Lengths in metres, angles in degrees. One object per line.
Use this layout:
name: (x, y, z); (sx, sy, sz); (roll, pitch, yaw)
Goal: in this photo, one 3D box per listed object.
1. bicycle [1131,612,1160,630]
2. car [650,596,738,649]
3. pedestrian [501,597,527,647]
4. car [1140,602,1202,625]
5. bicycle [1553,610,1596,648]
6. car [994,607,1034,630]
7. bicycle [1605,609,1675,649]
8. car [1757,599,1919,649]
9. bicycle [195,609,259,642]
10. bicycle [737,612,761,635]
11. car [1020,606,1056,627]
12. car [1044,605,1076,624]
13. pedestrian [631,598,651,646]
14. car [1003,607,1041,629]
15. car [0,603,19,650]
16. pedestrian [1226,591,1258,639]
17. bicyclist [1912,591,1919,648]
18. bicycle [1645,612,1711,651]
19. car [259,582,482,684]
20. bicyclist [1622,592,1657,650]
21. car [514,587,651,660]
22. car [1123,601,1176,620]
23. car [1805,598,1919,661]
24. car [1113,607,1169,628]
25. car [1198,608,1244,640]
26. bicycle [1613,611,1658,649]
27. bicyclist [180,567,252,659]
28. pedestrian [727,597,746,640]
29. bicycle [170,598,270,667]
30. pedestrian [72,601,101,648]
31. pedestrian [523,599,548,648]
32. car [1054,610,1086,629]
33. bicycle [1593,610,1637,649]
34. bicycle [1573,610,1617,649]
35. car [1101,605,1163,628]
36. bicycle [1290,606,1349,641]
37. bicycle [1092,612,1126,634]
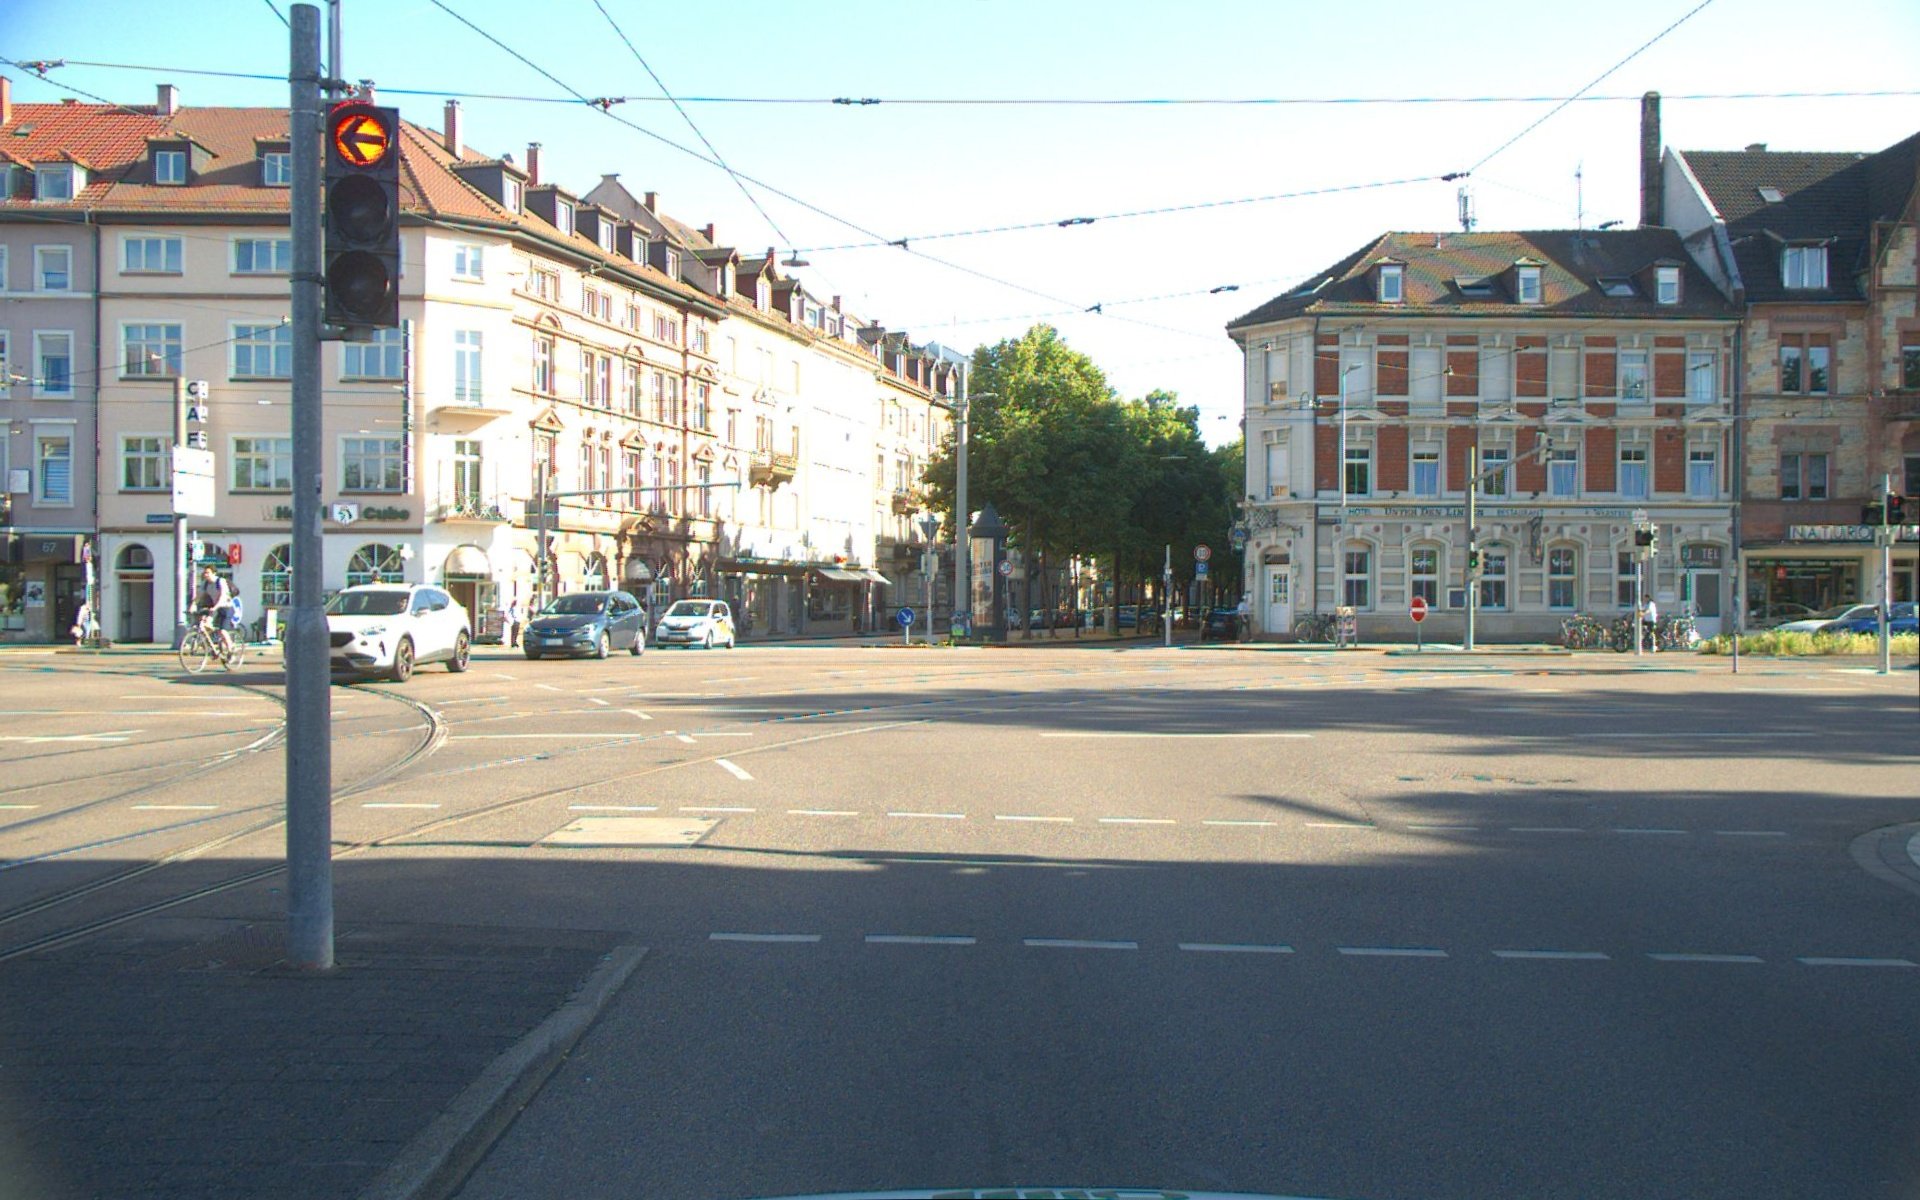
bicycle: (11.162, 1.268, 99.388); (0.577, 1.086, 1.924); (0, 0, -37)
car: (-7.985, 0.644, 49.900); (1.681, 1.523, 3.586); (0, 0, 7)
pedestrian: (-14.983, 0.738, 55.543); (0.661, 1.670, 0.579); (0, 0, 13)
car: (14.916, 0.952, 116.969); (3.913, 1.572, 1.996); (0, 0, 30)
bicycle: (19.830, 0.927, 53.437); (0.663, 1.211, 1.967); (0, 0, 0)
car: (3.702, 1.232, 112.898); (1.951, 1.523, 4.037); (0, 0, 13)
bicycle: (21.060, 0.902, 51.226); (1.920, 1.211, 0.602); (0, 0, 2)
car: (25.965, 0.703, 48.933); (3.906, 1.437, 1.845); (0, 0, -2)
bicycle: (-24.913, 0.860, 56.248); (1.906, 1.086, 0.582); (0, 0, -8)
bicycle: (-10.134, 1.132, 79.368); (0.484, 1.086, 1.771); (0, 0, 15)
car: (5.794, 1.216, 122.652); (1.951, 1.523, 4.037); (0, 0, 13)
car: (7.995, 1.146, 132.000); (1.951, 1.523, 4.037); (0, 0, 13)
pedestrian: (-12.615, 0.864, 65.466); (0.567, 1.868, 0.633); (0, 0, 15)
car: (4.448, 1.264, 117.395); (1.951, 1.523, 4.037); (0, 0, 13)
car: (-32.480, 0.833, 52.134); (4.547, 1.465, 1.743); (0, -1, -4)
pedestrian: (10.093, 0.530, 59.202); (0.923, 1.699, 0.713); (0, 0, 44)
bicyclist: (30.452, 0.600, 51.814); (0.885, 1.795, 0.601); (0, 0, -6)
bicycle: (23.041, 1.001, 53.107); (1.926, 1.211, 0.677); (0, 0, -13)
car: (-9.439, 0.484, 26.905); (1.952, 1.523, 4.348); (0, 0, 2)
bicyclist: (21.036, 0.653, 51.225); (0.854, 1.795, 0.602); (0, 0, 2)
car: (-8.359, 0.486, 37.021); (1.736, 1.523, 4.575); (0, 0, 4)
car: (15.421, 0.848, 134.667); (3.910, 1.572, 1.998); (0, 0, 28)
car: (25.913, 0.792, 45.937); (3.906, 1.697, 1.954); (0, 0, -2)
car: (14.068, 1.323, 128.486); (3.910, 1.572, 1.998); (0, 0, 28)
car: (13.071, 1.163, 82.583); (1.951, 1.523, 4.037); (0, 0, 13)
bicycle: (21.820, 0.956, 53.486); (0.663, 1.211, 1.967); (0, 0, 0)
bicyclist: (-13.163, 0.224, 29.287); (0.699, 1.587, 0.987); (0, 0, 14)
pedestrian: (-10.225, 0.851, 75.699); (0.667, 1.942, 0.633); (0, 0, 15)
bicycle: (-13.110, 0.558, 29.358); (0.474, 1.186, 2.058); (0, 0, 13)
pedestrian: (-29.107, 0.807, 55.106); (0.645, 1.551, 0.694); (0, 0, -6)
pedestrian: (-14.622, 0.793, 56.974); (0.617, 1.670, 0.553); (0, 0, 13)
car: (9.112, 1.612, 136.633); (1.951, 1.523, 4.037); (0, 0, 13)
bicycle: (21.157, 0.936, 53.484); (0.663, 1.211, 1.967); (0, 0, 0)
bicycle: (20.519, 0.954, 53.474); (0.663, 1.211, 1.967); (0, 0, 0)
car: (12.031, 1.144, 115.816); (3.910, 1.572, 1.998); (0, 0, 28)
bicycle: (12.456, 0.801, 57.341); (1.919, 1.211, 0.546); (0, 0, 4)
bicycle: (7.465, 1.160, 82.840); (0.577, 1.086, 1.924); (0, 0, -37)
